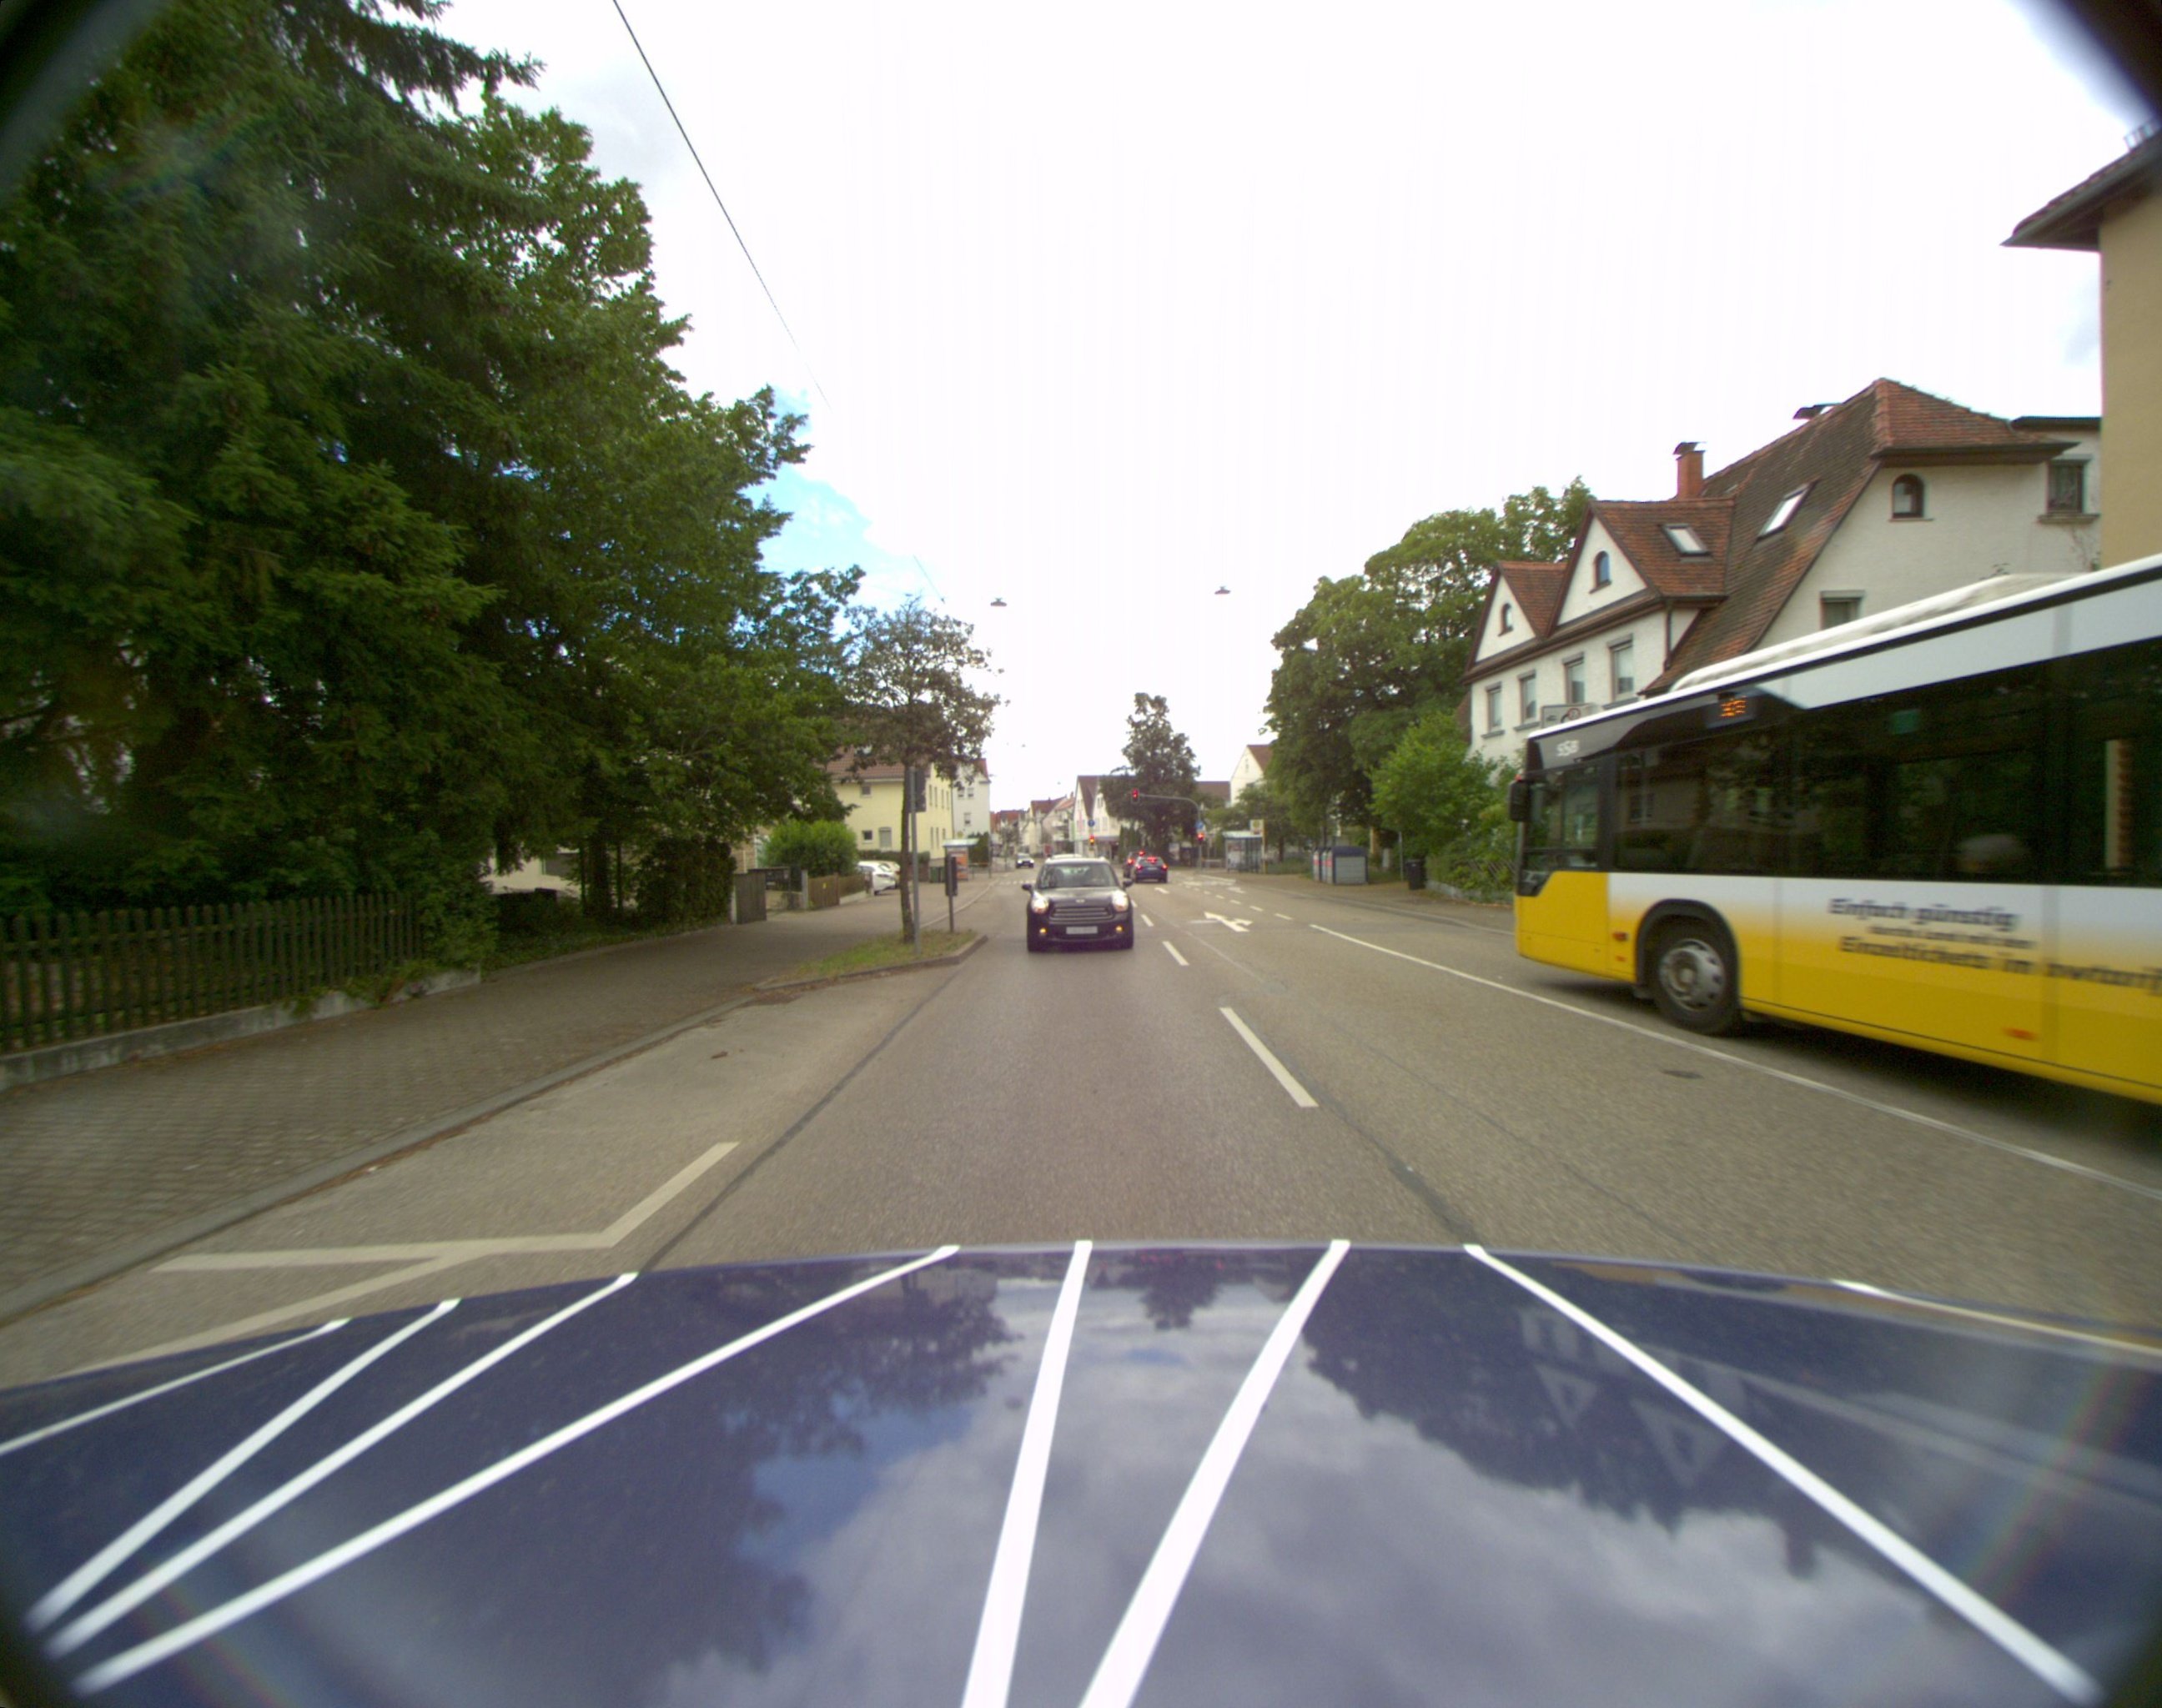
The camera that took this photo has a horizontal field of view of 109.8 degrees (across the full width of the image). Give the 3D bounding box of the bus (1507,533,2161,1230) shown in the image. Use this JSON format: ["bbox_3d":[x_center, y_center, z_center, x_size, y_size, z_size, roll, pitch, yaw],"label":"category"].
[{"bbox_3d":[6.066,0.128,2.552,2.638,3.068,12.069,0,0,1],"label":"bus"}]

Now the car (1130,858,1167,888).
[{"bbox_3d":[3.668,0.984,41.736,1.568,1.412,4.129,-1,1,-1],"label":"car"}]

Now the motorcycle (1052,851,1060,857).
[{"bbox_3d":[-4.835,-0.034,145.799,1.430,1.017,0.524,-3,2,-11],"label":"motorcycle"}]

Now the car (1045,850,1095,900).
[{"bbox_3d":[-0.481,0.768,30.385,1.811,1.556,4.615,-2,3,-2],"label":"car"}]

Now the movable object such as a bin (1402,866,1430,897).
[{"bbox_3d":[11.620,0.958,26.334,0.718,1.013,0.724,-4,-1,32],"label":"movable object such as a bin"}]

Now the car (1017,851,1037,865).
[{"bbox_3d":[-6.409,0.432,90.375,1.847,1.510,3.995,-3,1,-10],"label":"car"}]

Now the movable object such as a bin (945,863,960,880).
[{"bbox_3d":[-7.934,1.078,46.861,0.637,1.040,0.592,-2,2,24],"label":"movable object such as a bin"}]

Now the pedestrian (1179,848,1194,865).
[{"bbox_3d":[10.940,0.275,78.666,0.825,1.744,1.226,-4,2,-41],"label":"pedestrian"}]

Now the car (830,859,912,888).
[{"bbox_3d":[-10.714,0.981,38.966,3.814,1.394,1.639,0,2,-5],"label":"car"}]

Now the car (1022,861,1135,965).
[{"bbox_3d":[-0.103,0.932,13.793,1.694,1.506,3.999,-2,0,-2],"label":"car"}]

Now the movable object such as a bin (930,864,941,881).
[{"bbox_3d":[-8.805,1.116,46.012,0.638,1.040,0.585,-1,2,-8],"label":"movable object such as a bin"}]

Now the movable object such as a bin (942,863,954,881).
[{"bbox_3d":[-8.076,1.085,46.103,0.638,1.040,0.585,-3,2,-8],"label":"movable object such as a bin"}]

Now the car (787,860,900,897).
[{"bbox_3d":[-10.427,1.060,33.625,4.431,1.480,1.864,0,2,-1],"label":"car"}]

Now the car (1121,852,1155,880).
[{"bbox_3d":[3.636,0.747,49.259,1.763,1.626,4.593,1,2,-1],"label":"car"}]
